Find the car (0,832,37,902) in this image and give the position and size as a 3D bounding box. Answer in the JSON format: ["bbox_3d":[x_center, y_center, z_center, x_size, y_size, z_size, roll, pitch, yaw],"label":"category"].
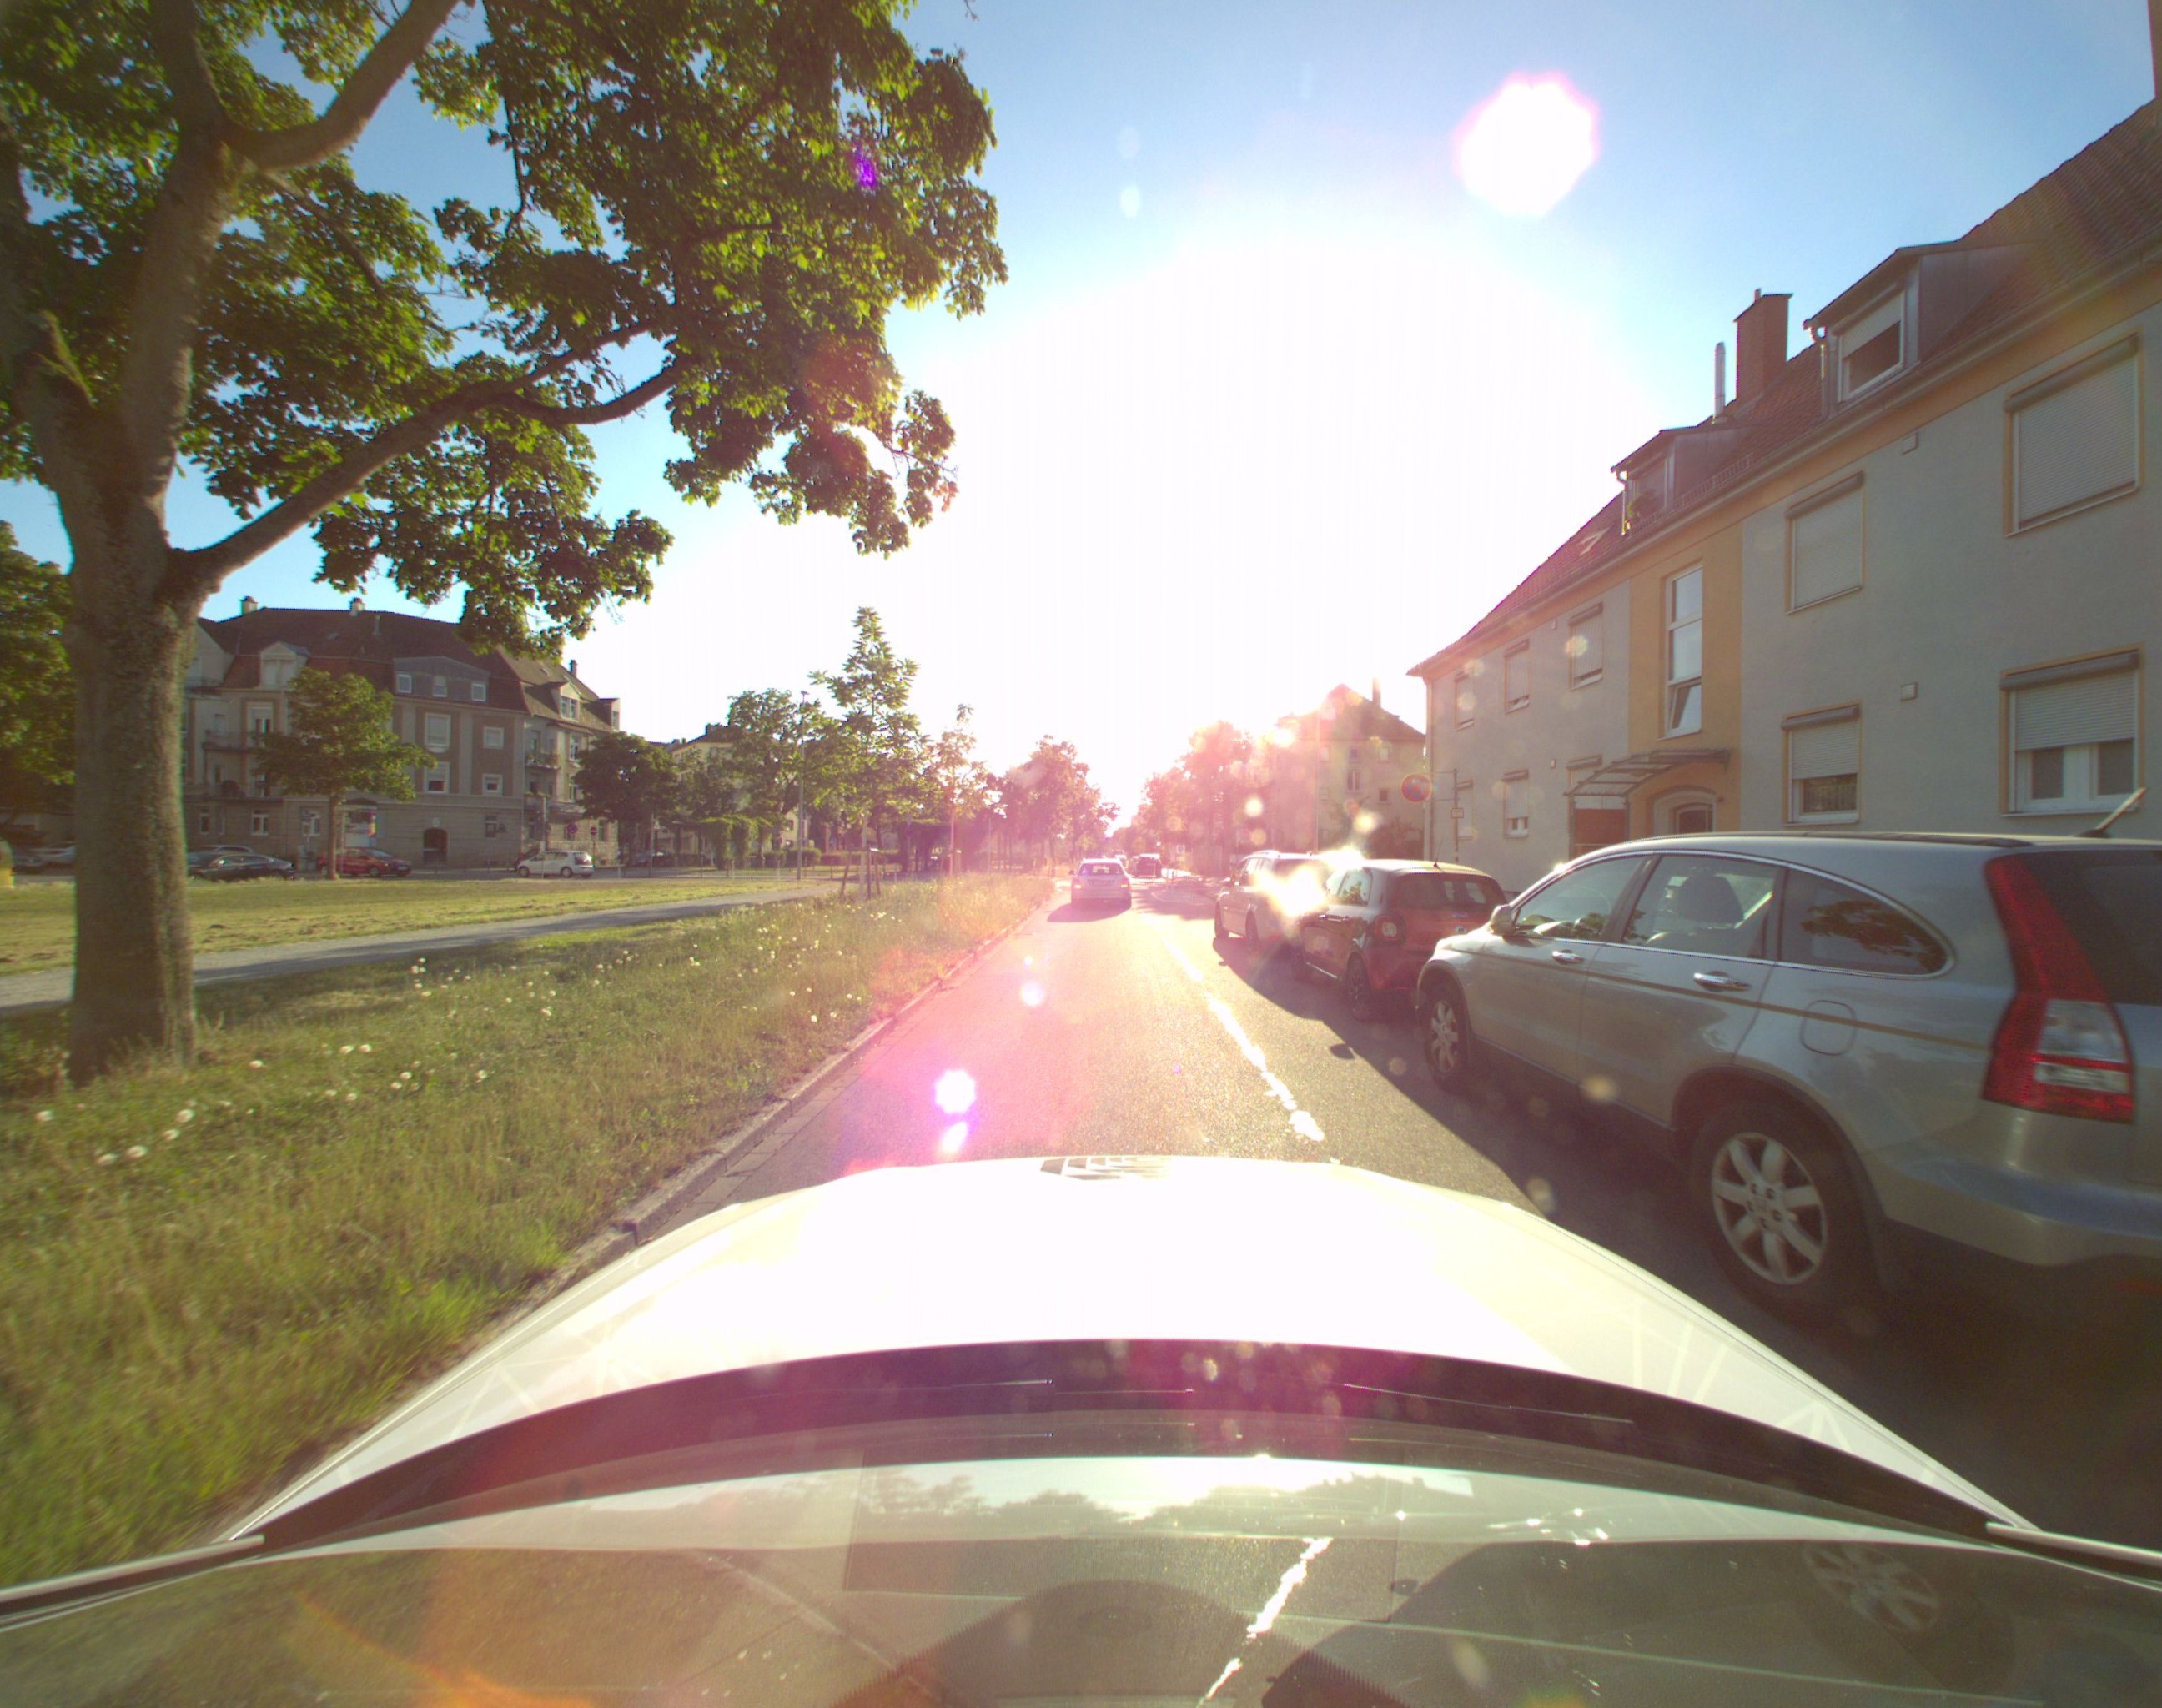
[{"bbox_3d":[-33.012,0.403,22.380,1.986,2.057,5.054,-3,-1,2],"label":"car"}]

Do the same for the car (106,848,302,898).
[{"bbox_3d":[-33.004,0.686,30.898,1.975,1.637,4.832,-3,-1,3],"label":"car"}]

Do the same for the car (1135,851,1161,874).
[{"bbox_3d":[4.739,0.619,58.090,1.715,1.597,4.002,0,-1,2],"label":"car"}]

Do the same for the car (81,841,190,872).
[{"bbox_3d":[-55.085,0.114,47.552,1.591,1.716,3.973,0,0,3],"label":"car"}]

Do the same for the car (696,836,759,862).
[{"bbox_3d":[-39.185,-0.544,90.346,6.332,2.720,1.984,0,0,-29],"label":"car"}]

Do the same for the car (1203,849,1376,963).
[{"bbox_3d":[3.442,0.766,14.371,1.712,1.639,4.561,2,0,-2],"label":"car"}]

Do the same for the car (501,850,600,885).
[{"bbox_3d":[-28.107,0.732,43.255,3.876,1.596,2.002,-3,-1,3],"label":"car"}]

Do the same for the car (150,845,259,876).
[{"bbox_3d":[-50.465,0.373,47.034,1.689,1.637,4.080,-3,-1,3],"label":"car"}]

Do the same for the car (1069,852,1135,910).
[{"bbox_3d":[0.666,0.753,24.701,1.816,1.566,4.002,-1,1,2],"label":"car"}]

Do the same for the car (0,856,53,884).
[{"bbox_3d":[-50.365,0.728,37.482,3.972,1.218,1.695,0,0,1],"label":"car"}]

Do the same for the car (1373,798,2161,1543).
[{"bbox_3d":[3.190,0.701,4.176,1.771,1.643,4.757,0,0,1],"label":"car"}]

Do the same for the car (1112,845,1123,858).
[{"bbox_3d":[6.051,-0.422,134.556,1.854,2.193,5.073,0,0,2],"label":"car"}]

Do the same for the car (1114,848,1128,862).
[{"bbox_3d":[5.677,0.115,116.496,1.981,2.023,4.002,0,0,2],"label":"car"}]

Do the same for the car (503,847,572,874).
[{"bbox_3d":[-37.588,0.449,56.440,1.637,1.707,4.297,-3,-1,3],"label":"car"}]

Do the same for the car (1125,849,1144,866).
[{"bbox_3d":[5.341,0.321,81.551,1.715,1.597,4.002,0,0,2],"label":"car"}]

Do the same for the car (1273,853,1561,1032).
[{"bbox_3d":[3.432,0.786,9.112,1.723,1.526,3.735,-1,0,1],"label":"car"}]

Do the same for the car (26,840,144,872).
[{"bbox_3d":[-57.631,0.110,47.244,1.690,1.674,4.078,-3,-1,2],"label":"car"}]

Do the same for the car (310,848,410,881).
[{"bbox_3d":[-35.598,0.486,40.241,3.567,1.481,1.688,1,2,5],"label":"car"}]
